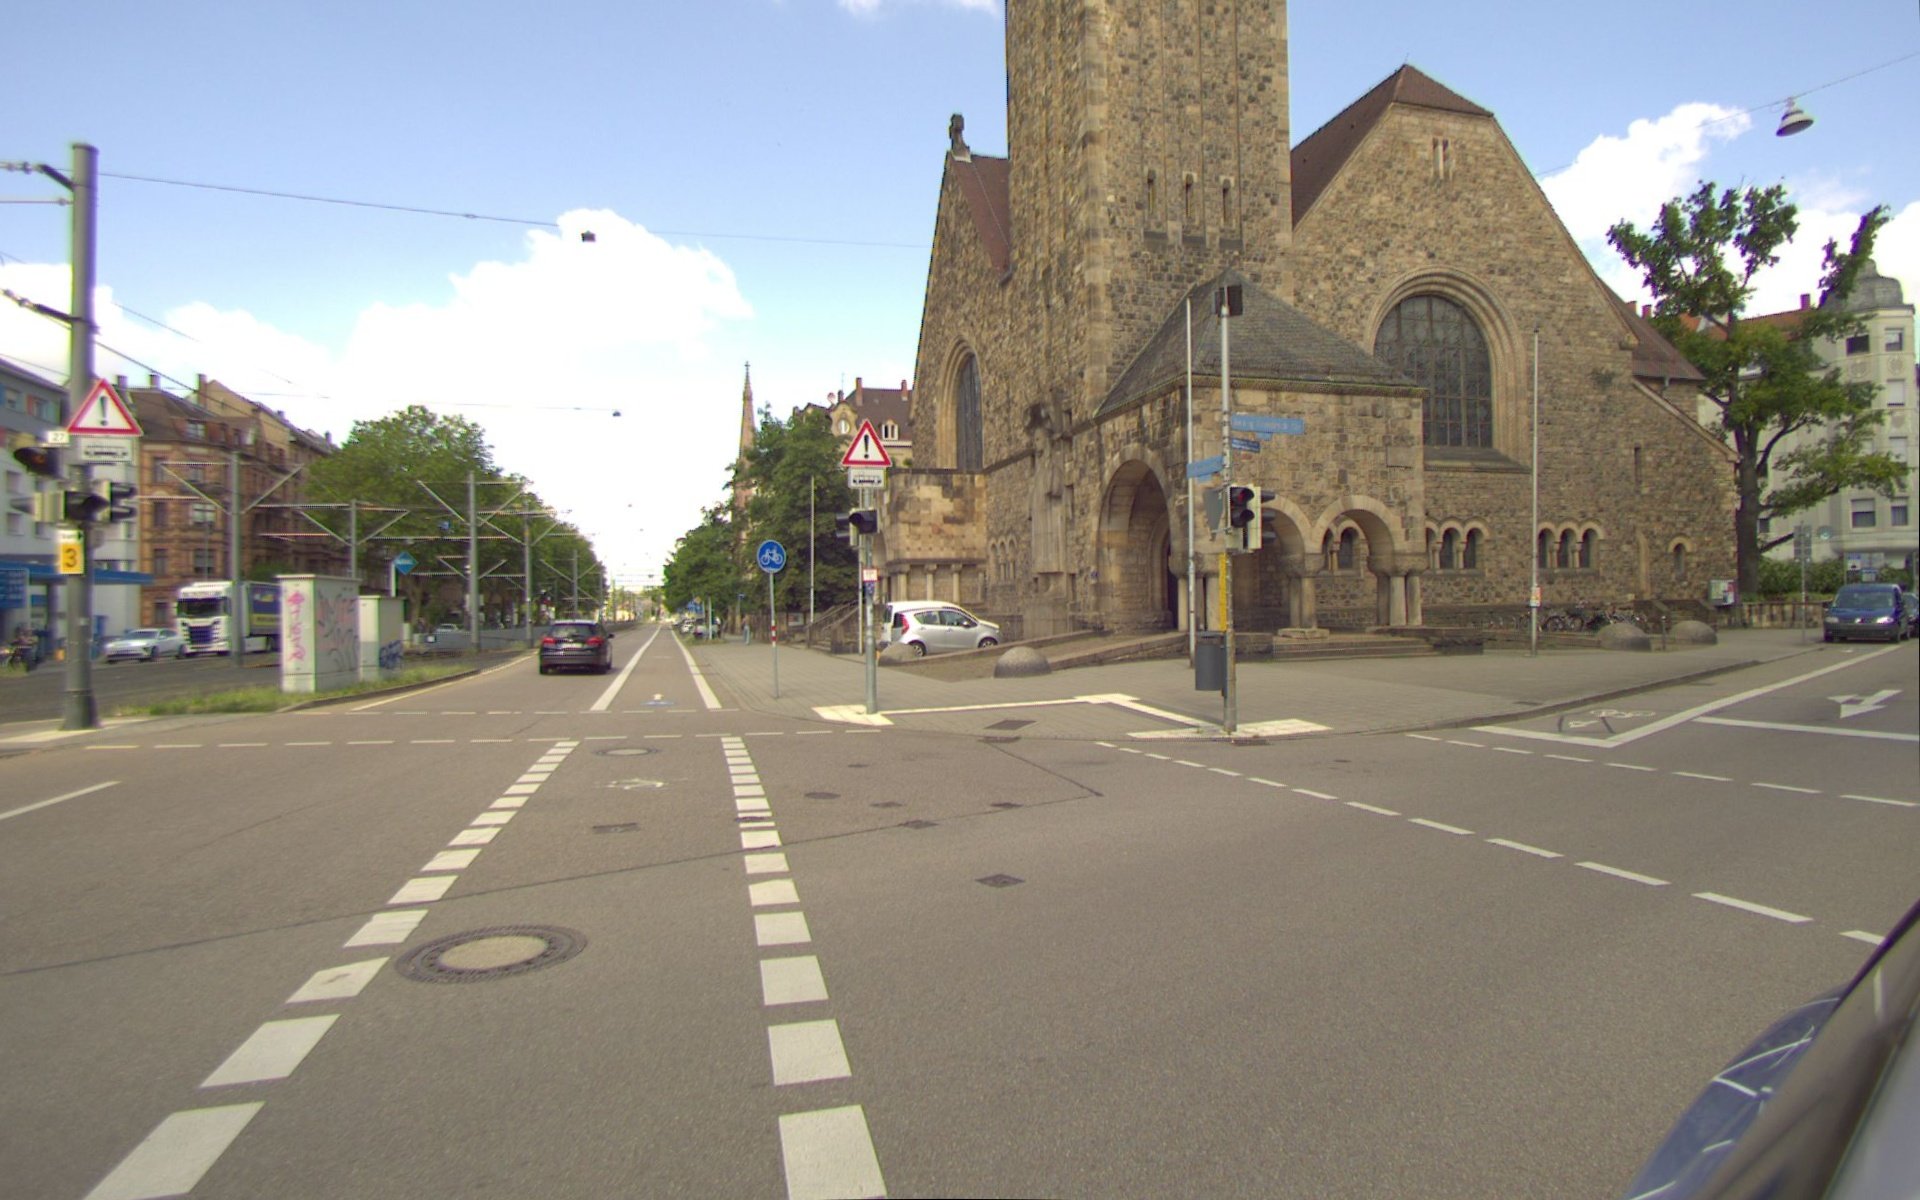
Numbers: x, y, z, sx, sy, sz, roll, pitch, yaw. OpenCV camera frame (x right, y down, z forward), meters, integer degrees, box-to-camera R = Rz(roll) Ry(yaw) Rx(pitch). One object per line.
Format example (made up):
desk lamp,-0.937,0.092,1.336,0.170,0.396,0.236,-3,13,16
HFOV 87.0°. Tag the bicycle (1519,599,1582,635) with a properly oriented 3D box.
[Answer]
bicycle,20.058,0.563,34.421,0.574,1.126,1.944,-1,2,-19

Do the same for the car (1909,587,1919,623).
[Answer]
car,40.721,0.173,41.860,3.731,1.465,1.681,-1,-1,-40

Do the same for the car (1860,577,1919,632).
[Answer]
car,32.529,0.147,34.860,3.929,1.814,1.681,-1,-1,-40

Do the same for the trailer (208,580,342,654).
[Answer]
trailer,-42.645,1.008,63.602,2.857,4.129,11.671,-1,0,-13

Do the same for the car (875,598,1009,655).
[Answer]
car,-0.651,0.903,34.691,4.214,1.878,2.003,0,-3,-16

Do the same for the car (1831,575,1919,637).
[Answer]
car,28.650,0.179,31.482,4.072,1.814,1.681,-1,-1,-40

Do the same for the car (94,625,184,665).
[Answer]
car,-39.090,2.111,48.311,1.816,1.727,4.142,-1,-1,-15

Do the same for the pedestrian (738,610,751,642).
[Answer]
pedestrian,-11.434,1.386,53.714,0.645,1.686,0.847,-1,-1,-14

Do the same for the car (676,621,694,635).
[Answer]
car,-26.648,2.678,97.894,1.621,1.249,3.069,-2,-1,-16

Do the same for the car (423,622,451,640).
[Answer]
car,-53.765,3.190,104.039,1.766,1.651,4.008,-1,0,-15

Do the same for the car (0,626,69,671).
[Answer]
car,-36.041,1.839,38.561,1.651,1.583,3.760,-1,-1,-16

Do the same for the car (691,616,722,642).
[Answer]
car,-15.775,1.780,62.879,1.752,1.514,3.844,-2,-1,-16

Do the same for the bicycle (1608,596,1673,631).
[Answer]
bicycle,23.879,0.457,35.561,0.574,1.126,1.944,-1,2,-19

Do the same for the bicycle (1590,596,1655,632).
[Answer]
bicycle,23.121,0.478,35.347,0.574,1.126,1.944,-1,2,-19

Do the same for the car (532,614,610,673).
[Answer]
car,-10.956,1.189,28.738,1.747,1.554,4.394,1,-1,-18

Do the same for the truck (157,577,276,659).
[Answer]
truck,-40.930,0.949,55.965,2.857,4.202,6.602,-1,0,-13

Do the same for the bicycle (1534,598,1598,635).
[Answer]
bicycle,20.725,0.545,34.638,0.574,1.126,1.944,-1,2,-19

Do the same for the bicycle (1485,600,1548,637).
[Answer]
bicycle,18.608,0.604,33.891,0.574,1.126,1.944,-1,2,-19

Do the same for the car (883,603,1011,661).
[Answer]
car,-0.425,0.988,31.136,3.561,1.700,1.822,0,-3,-19

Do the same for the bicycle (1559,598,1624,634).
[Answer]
bicycle,21.696,0.517,34.804,0.574,1.126,1.944,-1,2,-19

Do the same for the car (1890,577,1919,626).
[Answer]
car,37.213,0.033,38.866,3.929,1.814,1.681,-1,-1,-40
